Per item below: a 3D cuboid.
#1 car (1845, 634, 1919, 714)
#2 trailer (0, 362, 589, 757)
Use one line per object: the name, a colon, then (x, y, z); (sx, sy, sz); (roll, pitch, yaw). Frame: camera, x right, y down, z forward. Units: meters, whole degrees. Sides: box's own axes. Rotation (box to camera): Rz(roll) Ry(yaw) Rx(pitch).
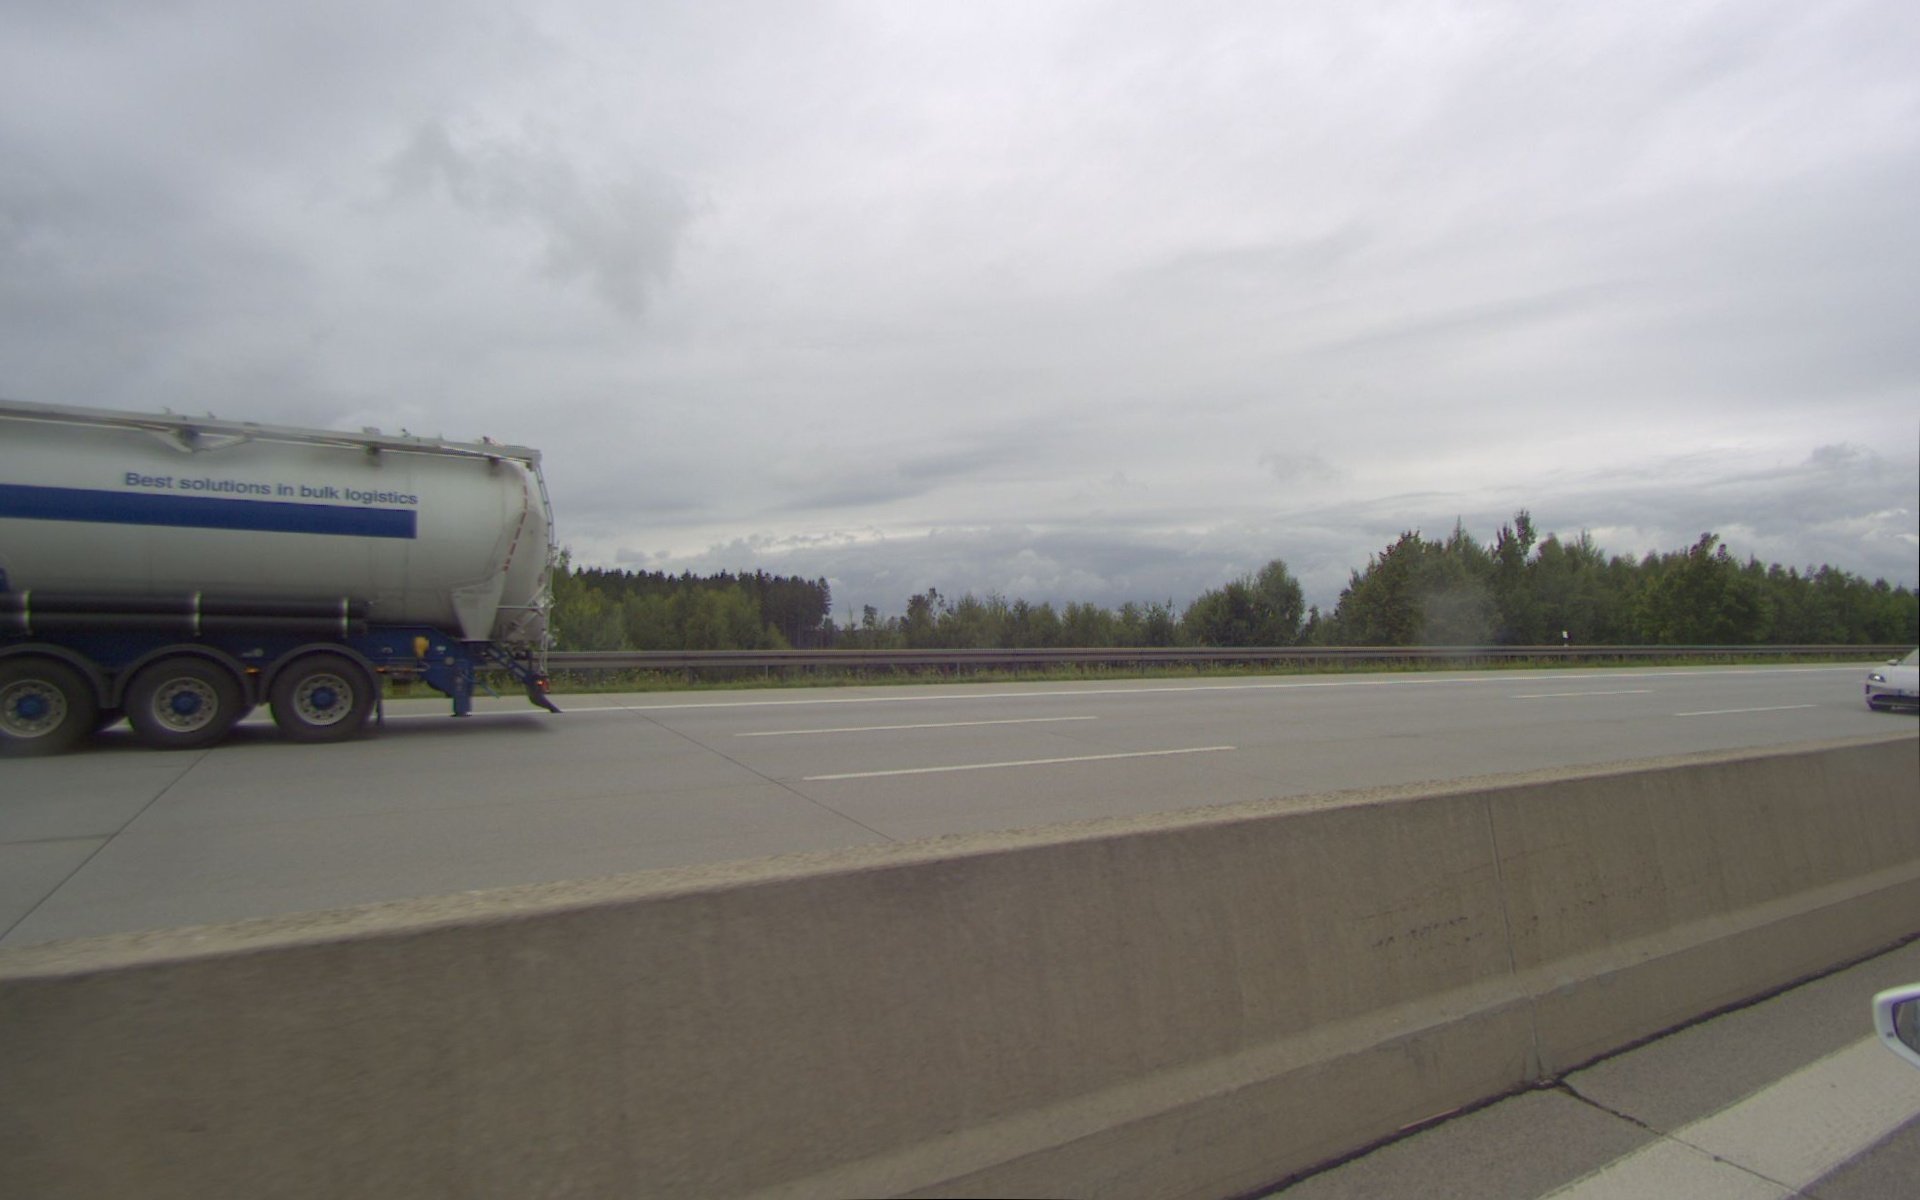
car: (20.850, 1.518, 21.127); (4.711, 1.460, 1.983); (0, 1, -31)
trailer: (-10.830, -0.426, 11.346); (12.148, 4.052, 2.744); (1, 0, -31)
